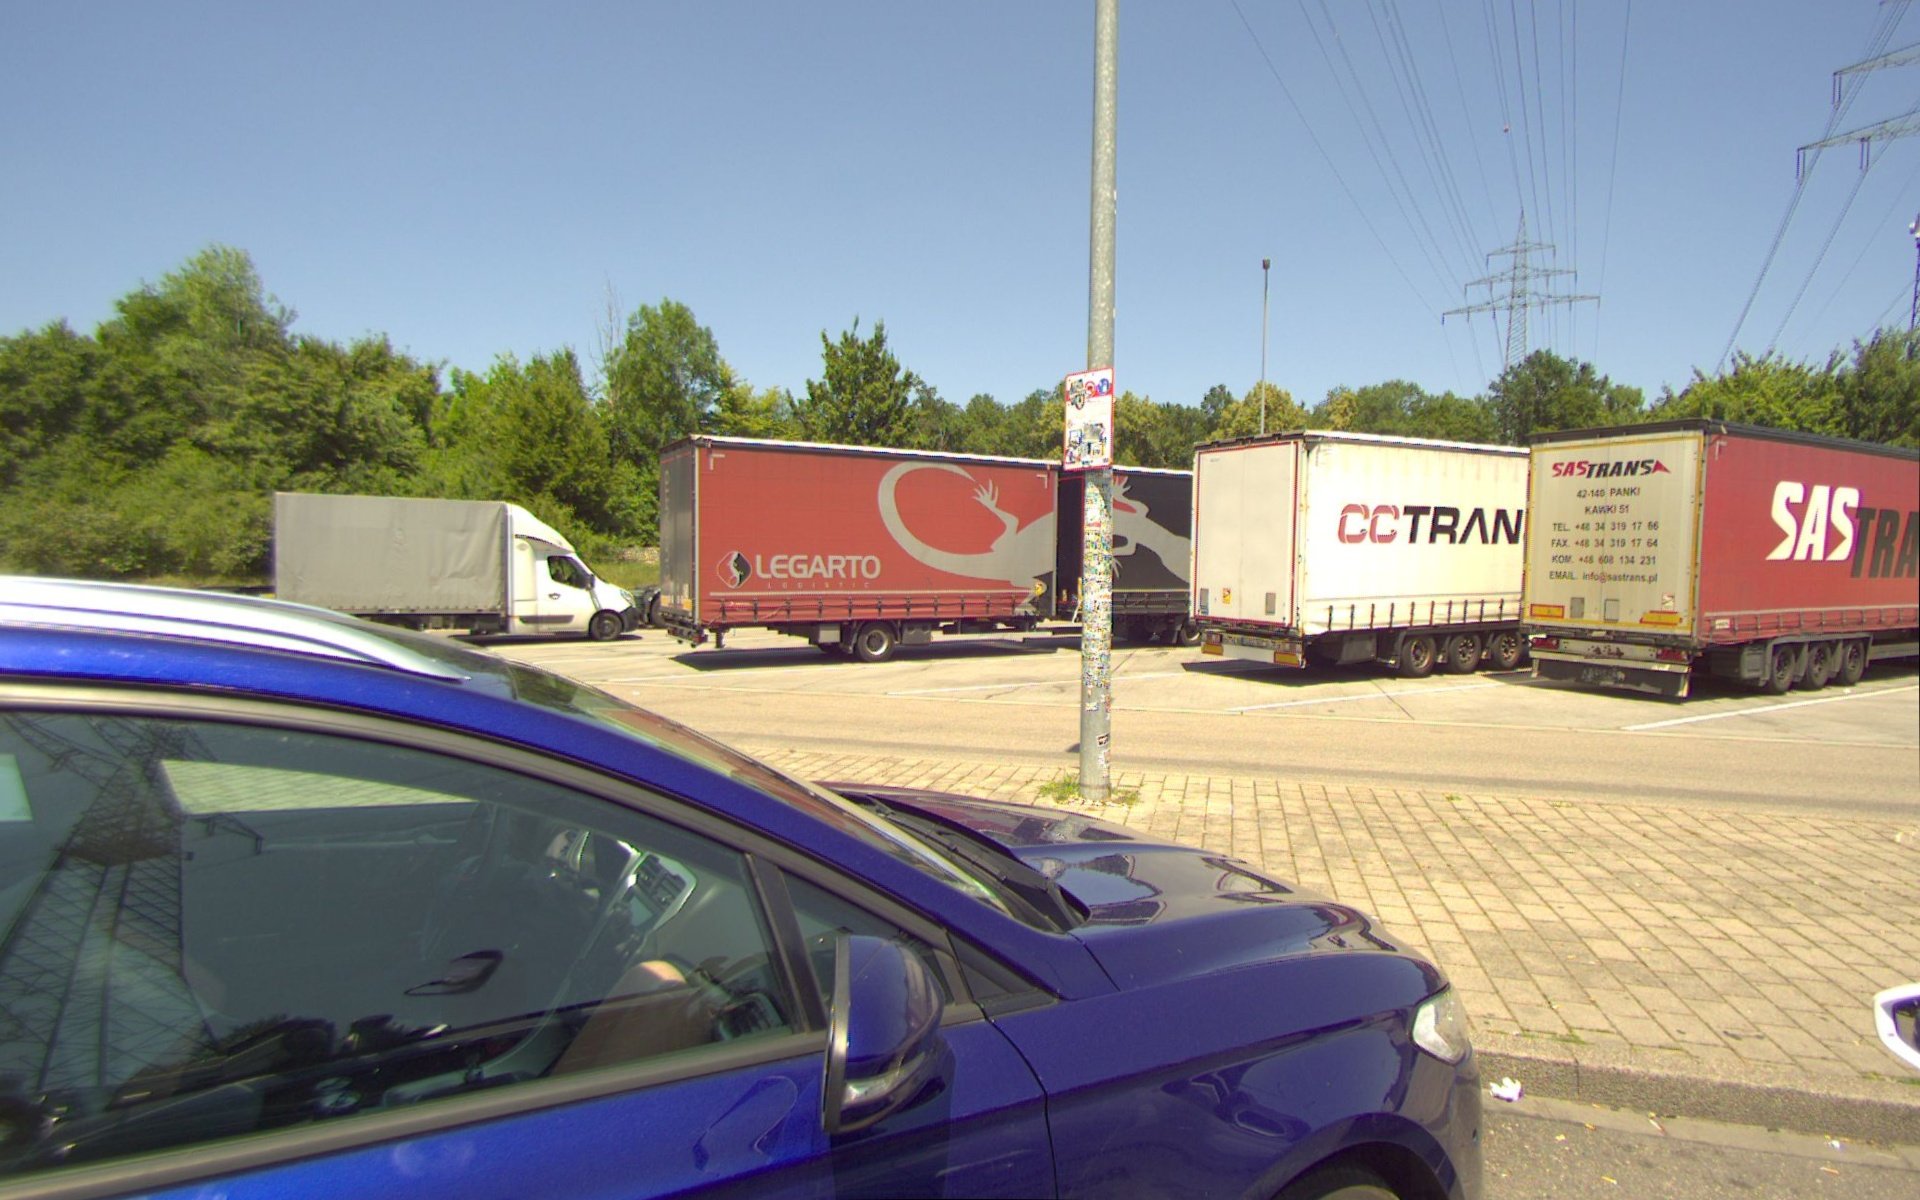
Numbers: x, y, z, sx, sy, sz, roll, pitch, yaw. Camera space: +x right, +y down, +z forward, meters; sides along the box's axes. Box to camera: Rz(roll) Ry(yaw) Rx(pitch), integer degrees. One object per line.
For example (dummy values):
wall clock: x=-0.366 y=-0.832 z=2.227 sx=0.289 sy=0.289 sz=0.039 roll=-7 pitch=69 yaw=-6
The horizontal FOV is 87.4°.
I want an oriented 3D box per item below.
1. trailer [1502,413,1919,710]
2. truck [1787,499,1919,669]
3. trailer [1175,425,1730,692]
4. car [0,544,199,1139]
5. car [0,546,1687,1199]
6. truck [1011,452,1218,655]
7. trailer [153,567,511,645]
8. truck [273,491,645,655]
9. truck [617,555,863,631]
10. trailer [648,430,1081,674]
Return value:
trailer: x=15.612 y=-0.692 z=18.741 sx=13.962 sy=4.141 sz=2.777 roll=-1 pitch=3 yaw=-30
truck: x=21.214 y=-0.394 z=22.020 sx=5.829 sy=3.373 sz=2.837 roll=-1 pitch=3 yaw=-30
trailer: x=10.591 y=-0.800 z=20.351 sx=13.962 sy=4.141 sz=2.782 roll=-1 pitch=3 yaw=-30
car: x=-4.604 y=0.605 z=2.238 sx=4.444 sy=1.520 sz=1.762 roll=0 pitch=2 yaw=-32
car: x=-1.027 y=0.683 z=1.506 sx=4.444 sy=1.511 sz=1.859 roll=0 pitch=2 yaw=-32
truck: x=3.574 y=-1.068 z=23.463 sx=3.947 sy=4.298 sz=2.723 roll=-1 pitch=3 yaw=-30
trailer: x=-15.161 y=0.053 z=24.903 sx=7.204 sy=1.711 sz=2.249 roll=-1 pitch=3 yaw=-29
truck: x=-11.185 y=-0.627 z=23.034 sx=7.204 sy=3.279 sz=2.727 roll=-1 pitch=3 yaw=-29
truck: x=-6.344 y=-0.234 z=29.285 sx=6.733 sy=2.041 sz=1.987 roll=-1 pitch=1 yaw=-26
trailer: x=-1.738 y=-0.901 z=20.340 sx=8.376 sy=4.141 sz=2.722 roll=-1 pitch=3 yaw=-30
